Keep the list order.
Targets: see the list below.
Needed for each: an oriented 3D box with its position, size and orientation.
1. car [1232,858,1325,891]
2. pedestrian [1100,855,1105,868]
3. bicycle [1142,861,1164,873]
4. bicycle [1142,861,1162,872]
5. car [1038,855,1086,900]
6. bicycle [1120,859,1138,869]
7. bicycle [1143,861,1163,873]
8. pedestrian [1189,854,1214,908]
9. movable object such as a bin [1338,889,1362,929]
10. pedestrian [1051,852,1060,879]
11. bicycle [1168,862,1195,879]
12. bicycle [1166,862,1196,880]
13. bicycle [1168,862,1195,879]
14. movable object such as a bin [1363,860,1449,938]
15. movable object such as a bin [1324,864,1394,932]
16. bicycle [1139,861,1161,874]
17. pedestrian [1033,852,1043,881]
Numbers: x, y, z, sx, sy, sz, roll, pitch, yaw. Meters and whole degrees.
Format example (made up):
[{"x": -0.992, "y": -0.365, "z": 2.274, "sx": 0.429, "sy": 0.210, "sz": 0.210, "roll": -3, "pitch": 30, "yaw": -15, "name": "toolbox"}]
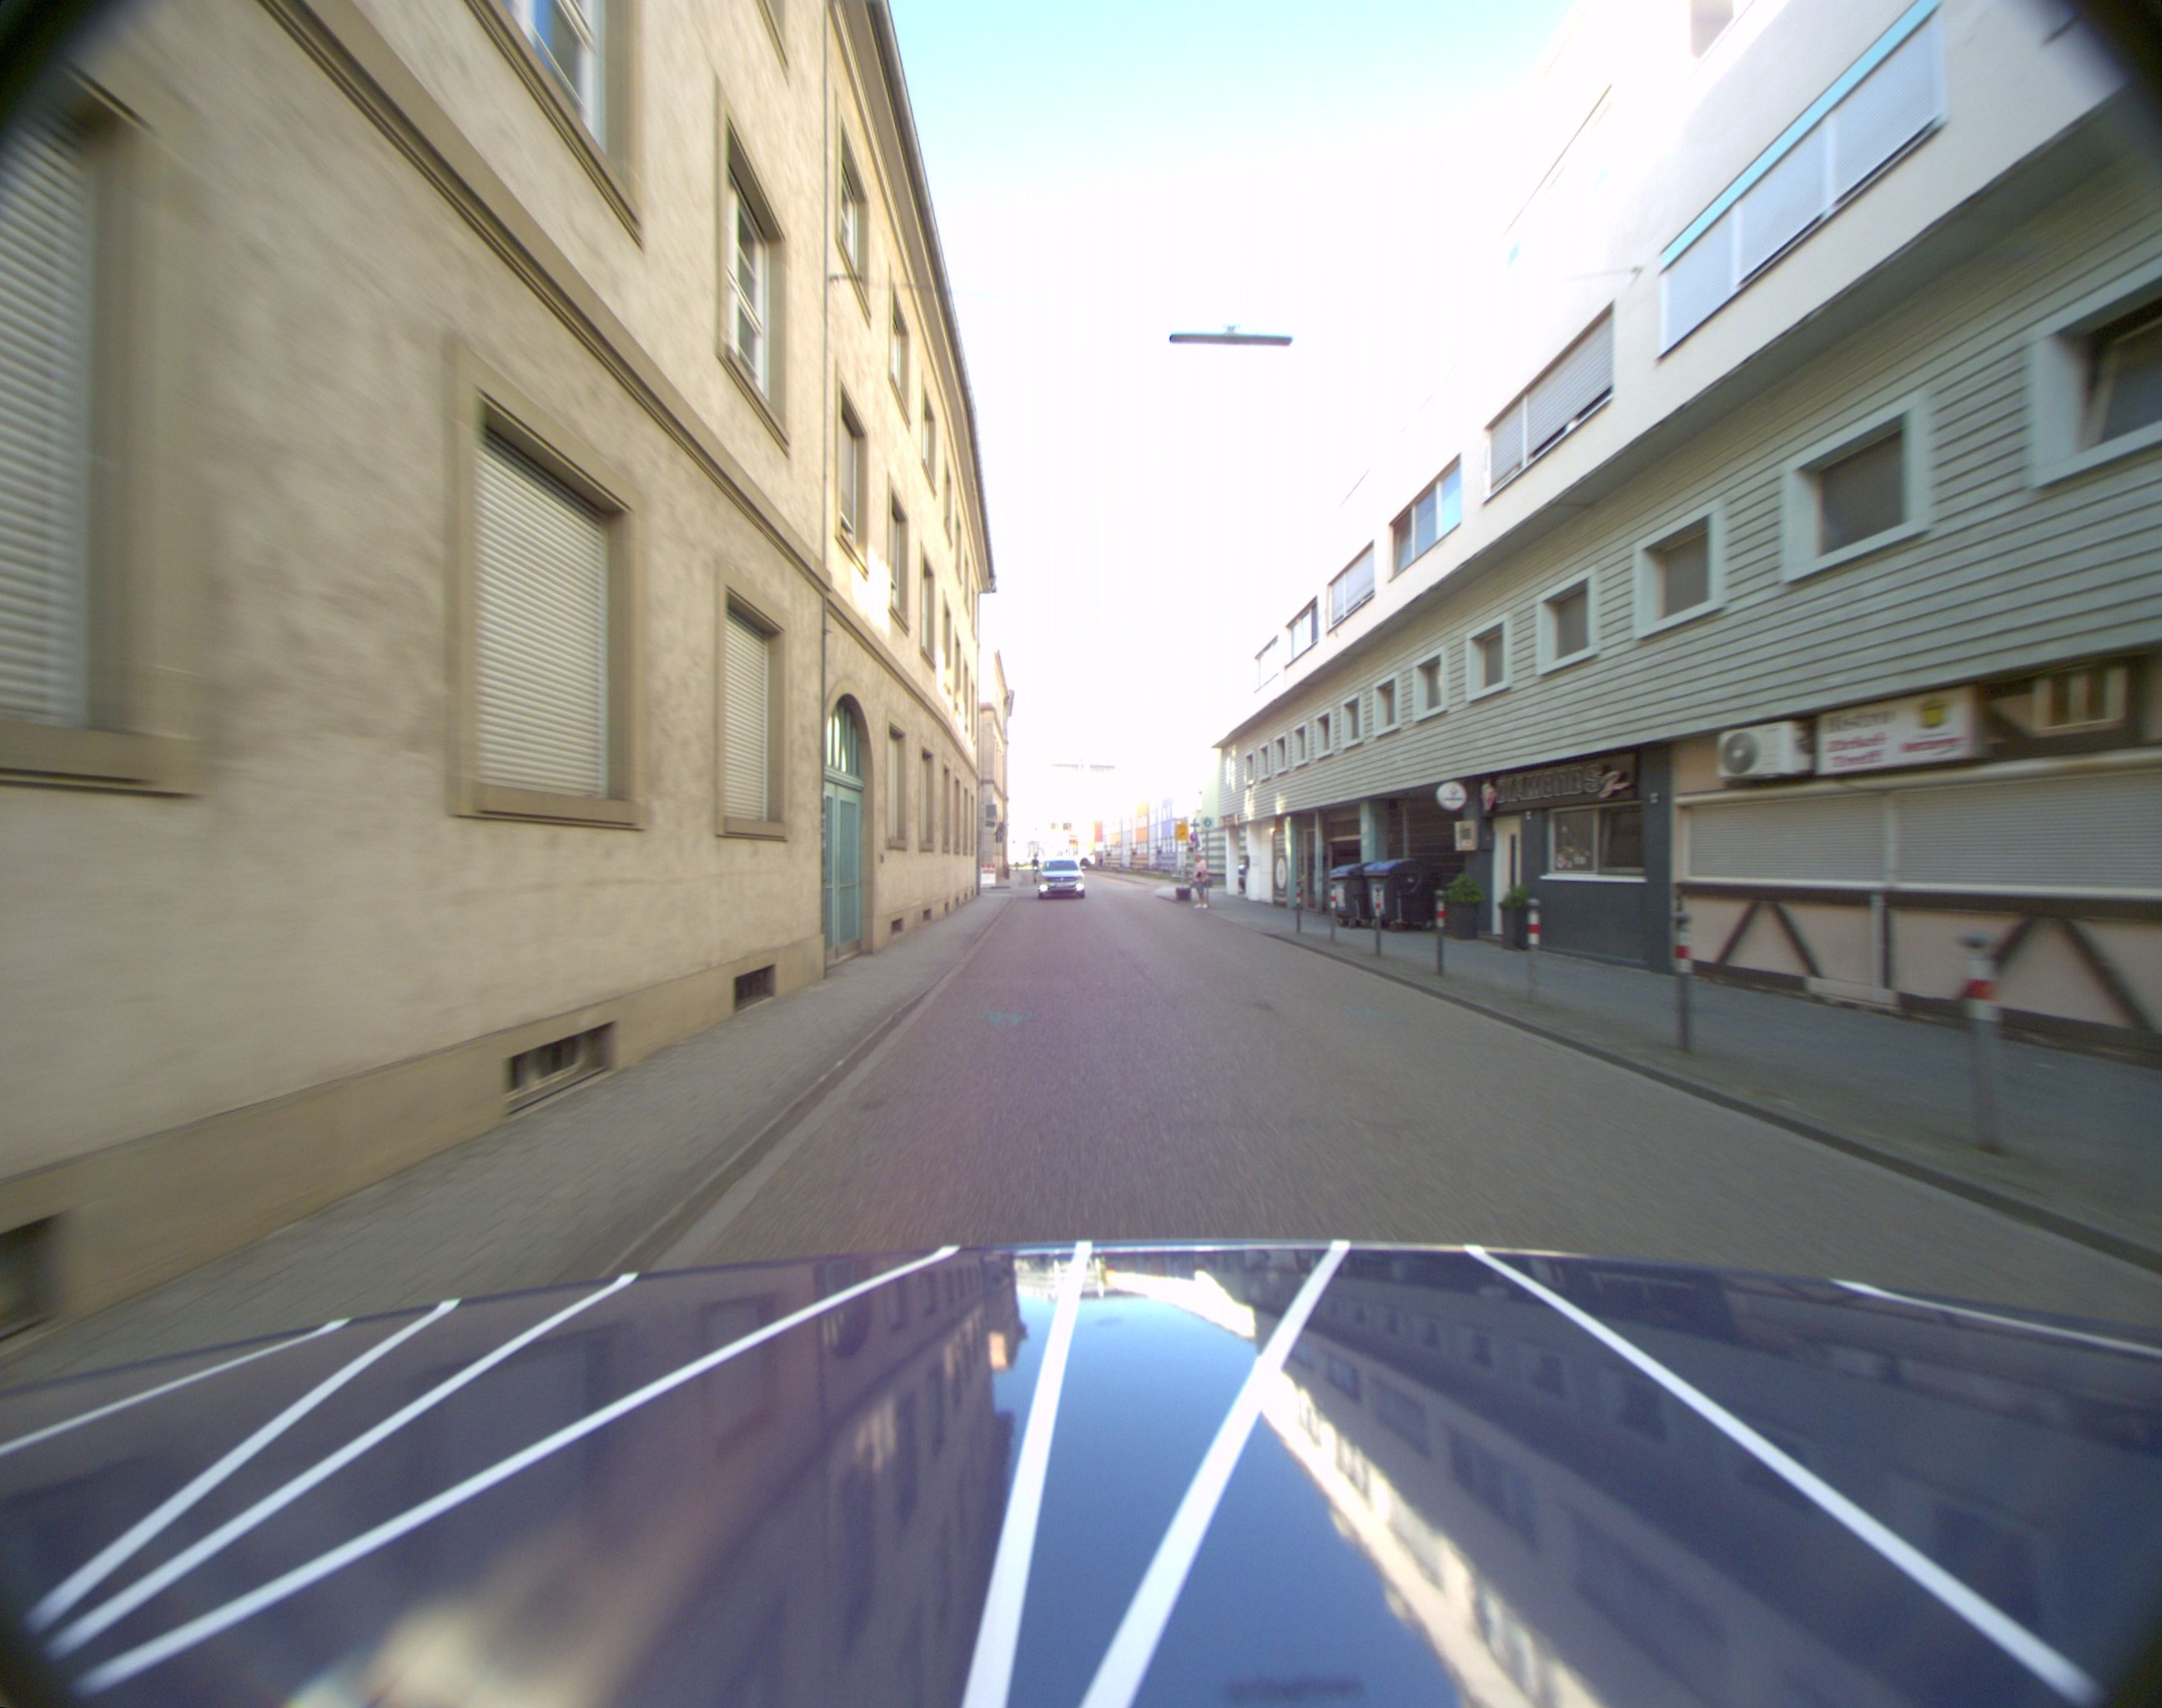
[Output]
[{"x": 9.256, "y": 0.939, "z": 35.755, "sx": 3.943, "sy": 1.511, "sz": 1.692, "roll": 0, "pitch": 0, "yaw": -4, "name": "car"}, {"x": 2.774, "y": 0.919, "z": 97.896, "sx": 0.612, "sy": 1.641, "sz": 0.447, "roll": 0, "pitch": 0, "yaw": -9, "name": "pedestrian"}, {"x": 6.244, "y": 1.127, "z": 65.829, "sx": 1.803, "sy": 0.940, "sz": 0.388, "roll": -4, "pitch": 1, "yaw": -3, "name": "bicycle"}, {"x": 6.308, "y": 1.110, "z": 67.495, "sx": 1.658, "sy": 0.940, "sz": 0.388, "roll": -4, "pitch": 1, "yaw": -3, "name": "bicycle"}, {"x": -0.687, "y": 0.876, "z": 30.182, "sx": 1.683, "sy": 1.568, "sz": 4.242, "roll": -3, "pitch": 0, "yaw": 0, "name": "car"}, {"x": 5.134, "y": 1.097, "z": 81.665, "sx": 1.808, "sy": 0.977, "sz": 0.654, "roll": -4, "pitch": 1, "yaw": -6, "name": "bicycle"}, {"x": 6.372, "y": 1.114, "z": 67.092, "sx": 1.658, "sy": 0.940, "sz": 0.388, "roll": -4, "pitch": 1, "yaw": -3, "name": "bicycle"}, {"x": 3.766, "y": 0.831, "z": 23.761, "sx": 0.494, "sy": 1.660, "sz": 0.627, "roll": -3, "pitch": 1, "yaw": -15, "name": "pedestrian"}, {"x": 6.376, "y": 1.297, "z": 18.023, "sx": 0.394, "sy": 0.936, "sz": 0.467, "roll": 0, "pitch": 0, "yaw": -3, "name": "movable object such as a bin"}, {"x": -1.712, "y": 0.771, "z": 50.921, "sx": 0.603, "sy": 1.770, "sz": 0.651, "roll": 0, "pitch": 0, "yaw": -4, "name": "pedestrian"}, {"x": 6.954, "y": 1.135, "z": 52.684, "sx": 1.739, "sy": 1.094, "sz": 0.388, "roll": -4, "pitch": 1, "yaw": -10, "name": "bicycle"}, {"x": 6.760, "y": 1.132, "z": 51.237, "sx": 1.821, "sy": 1.094, "sz": 0.749, "roll": -4, "pitch": 0, "yaw": -3, "name": "bicycle"}, {"x": 7.013, "y": 1.138, "z": 53.093, "sx": 1.739, "sy": 1.094, "sz": 0.388, "roll": -4, "pitch": 1, "yaw": -10, "name": "bicycle"}, {"x": 6.538, "y": 0.876, "z": 15.375, "sx": 1.125, "sy": 1.511, "sz": 1.342, "roll": 0, "pitch": -1, "yaw": -3, "name": "movable object such as a bin"}, {"x": 6.200, "y": 0.958, "z": 17.026, "sx": 0.971, "sy": 1.462, "sz": 1.474, "roll": 0, "pitch": -1, "yaw": -3, "name": "movable object such as a bin"}, {"x": 5.914, "y": 1.158, "z": 65.118, "sx": 1.803, "sy": 0.940, "sz": 0.388, "roll": -4, "pitch": 1, "yaw": -3, "name": "bicycle"}, {"x": -2.823, "y": 0.822, "z": 49.849, "sx": 0.677, "sy": 1.928, "sz": 0.858, "roll": 0, "pitch": 0, "yaw": -4, "name": "pedestrian"}]
